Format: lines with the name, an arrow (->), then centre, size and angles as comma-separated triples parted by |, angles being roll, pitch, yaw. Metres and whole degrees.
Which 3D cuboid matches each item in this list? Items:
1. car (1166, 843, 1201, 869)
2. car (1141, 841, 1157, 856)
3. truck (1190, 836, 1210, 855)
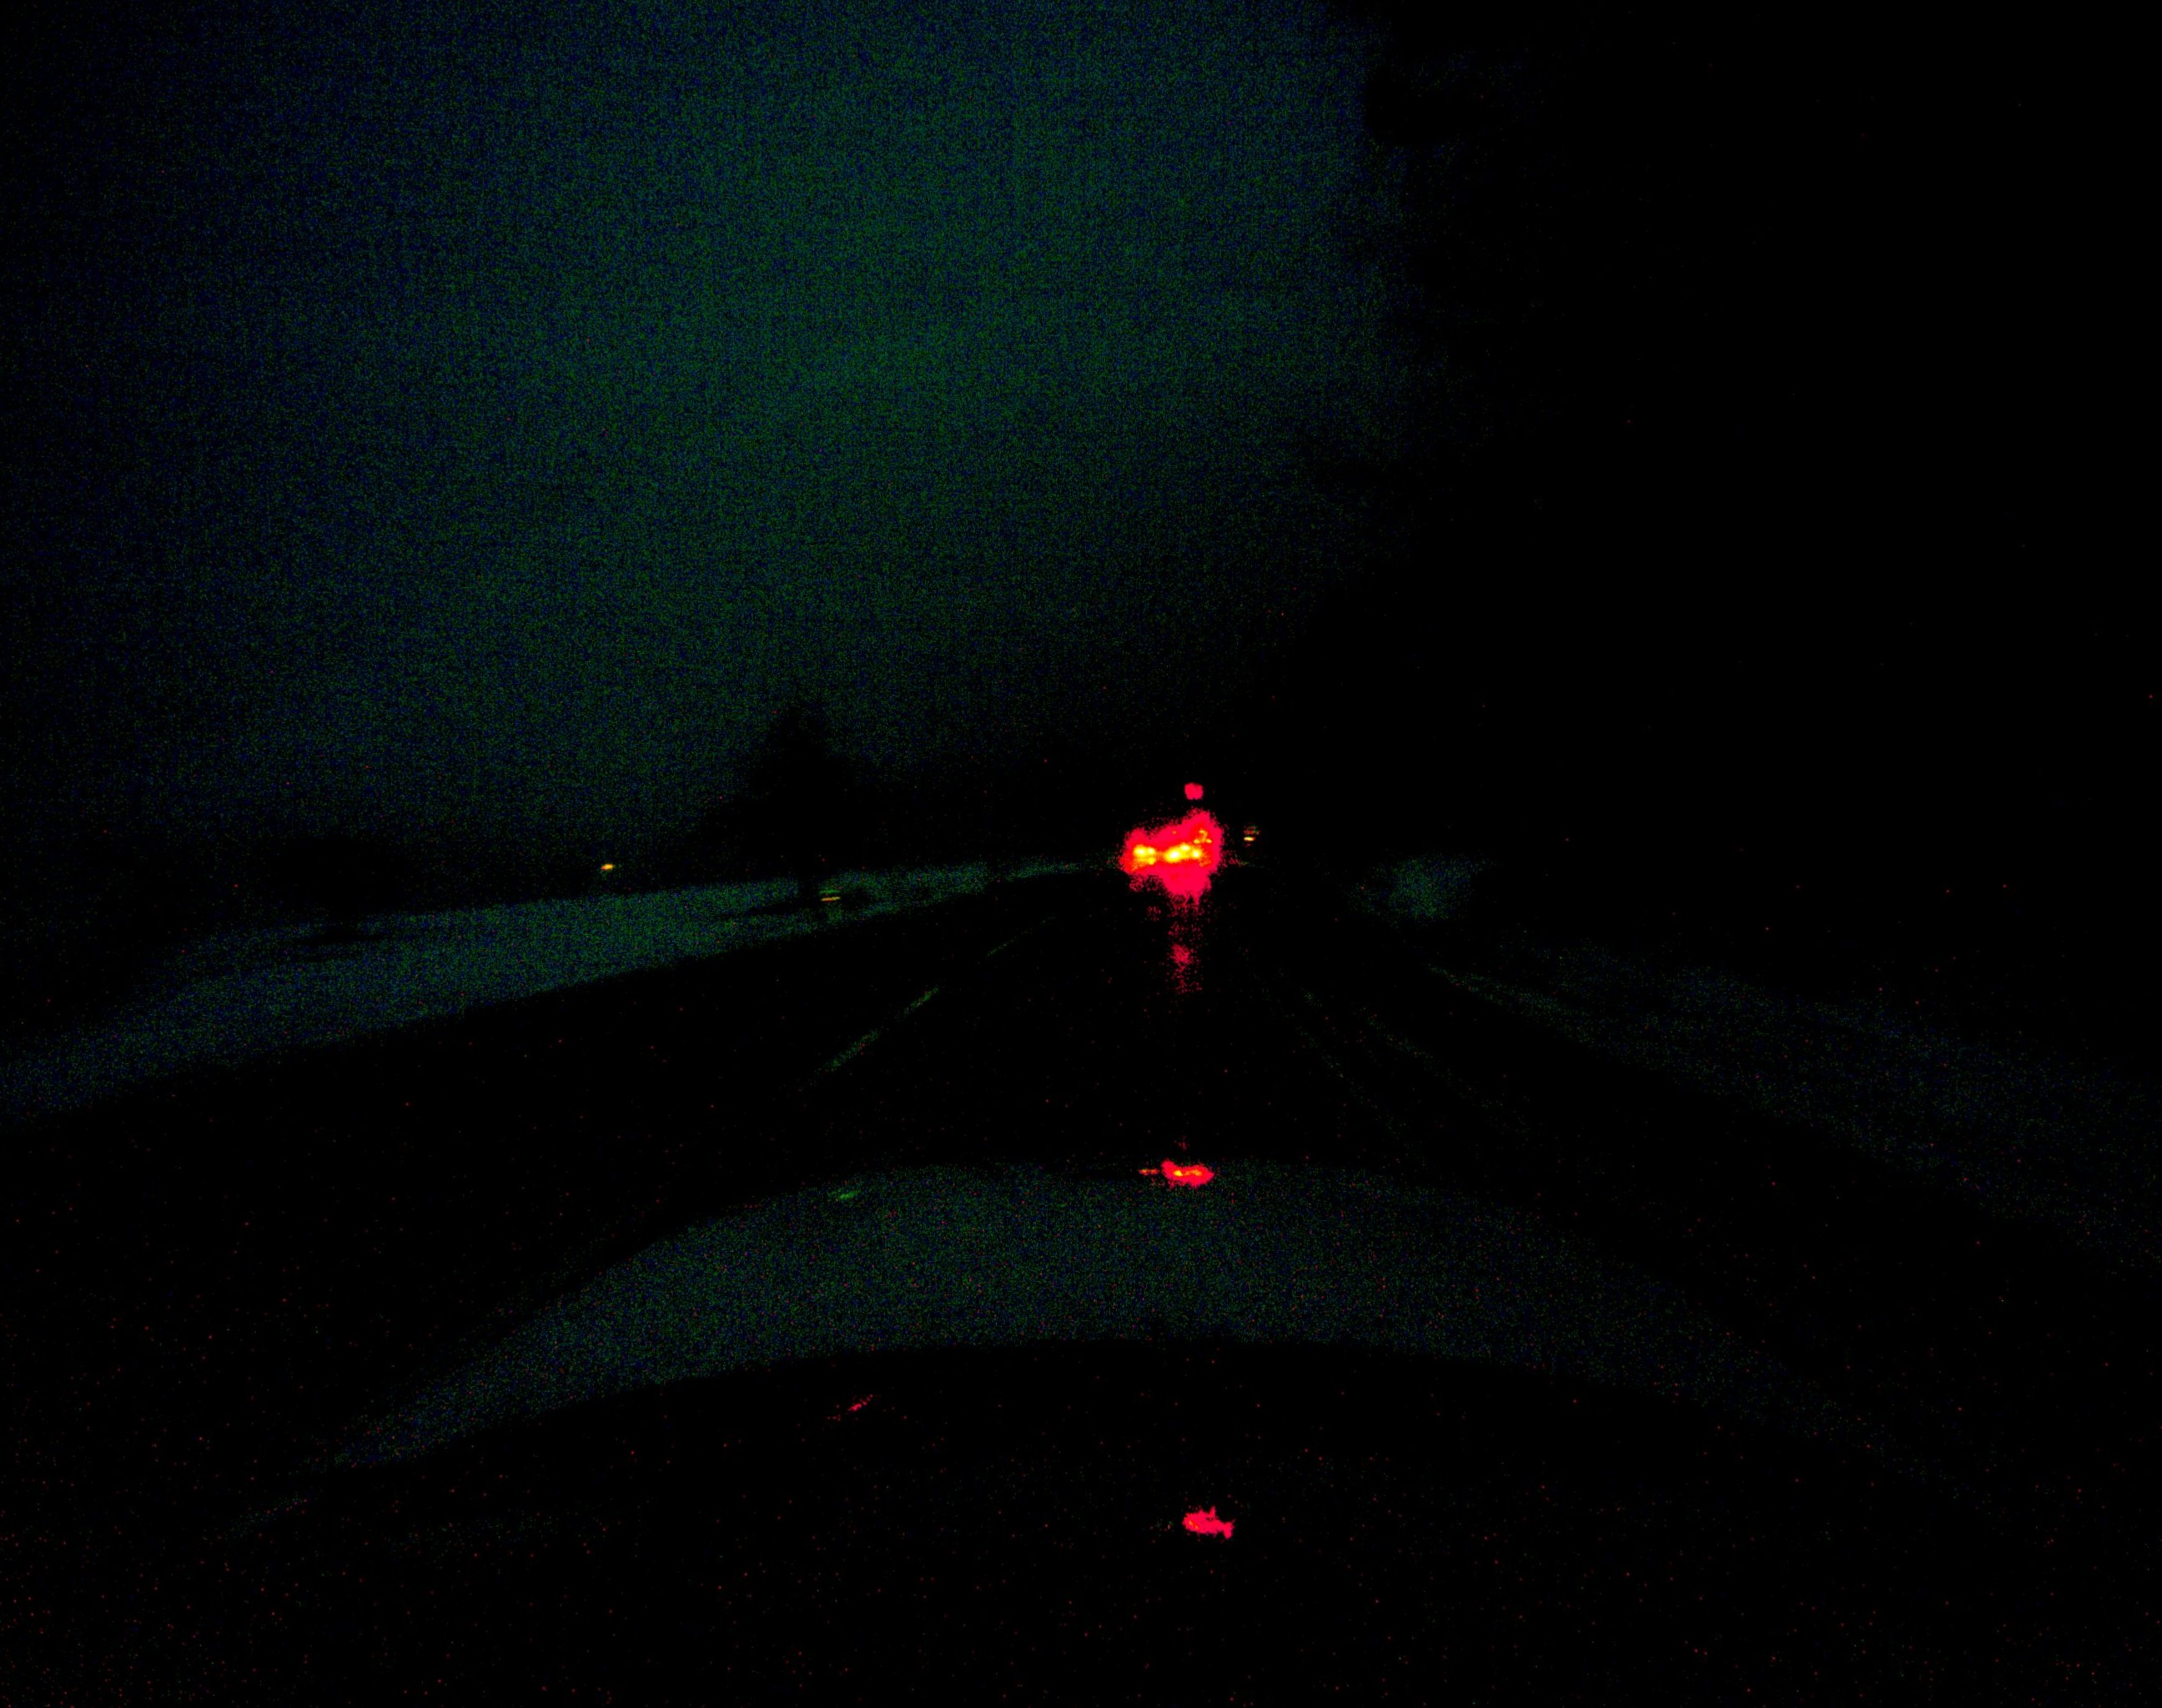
car -> 6.102, 0.103, 48.469 | 1.911, 1.276, 4.010 | -3, 2, 8
car -> 8.678, -0.728, 103.508 | 1.745, 1.693, 4.429 | -4, 0, 2
truck -> 17.675, -1.234, 121.151 | 2.069, 2.745, 5.318 | -2, 1, 0
